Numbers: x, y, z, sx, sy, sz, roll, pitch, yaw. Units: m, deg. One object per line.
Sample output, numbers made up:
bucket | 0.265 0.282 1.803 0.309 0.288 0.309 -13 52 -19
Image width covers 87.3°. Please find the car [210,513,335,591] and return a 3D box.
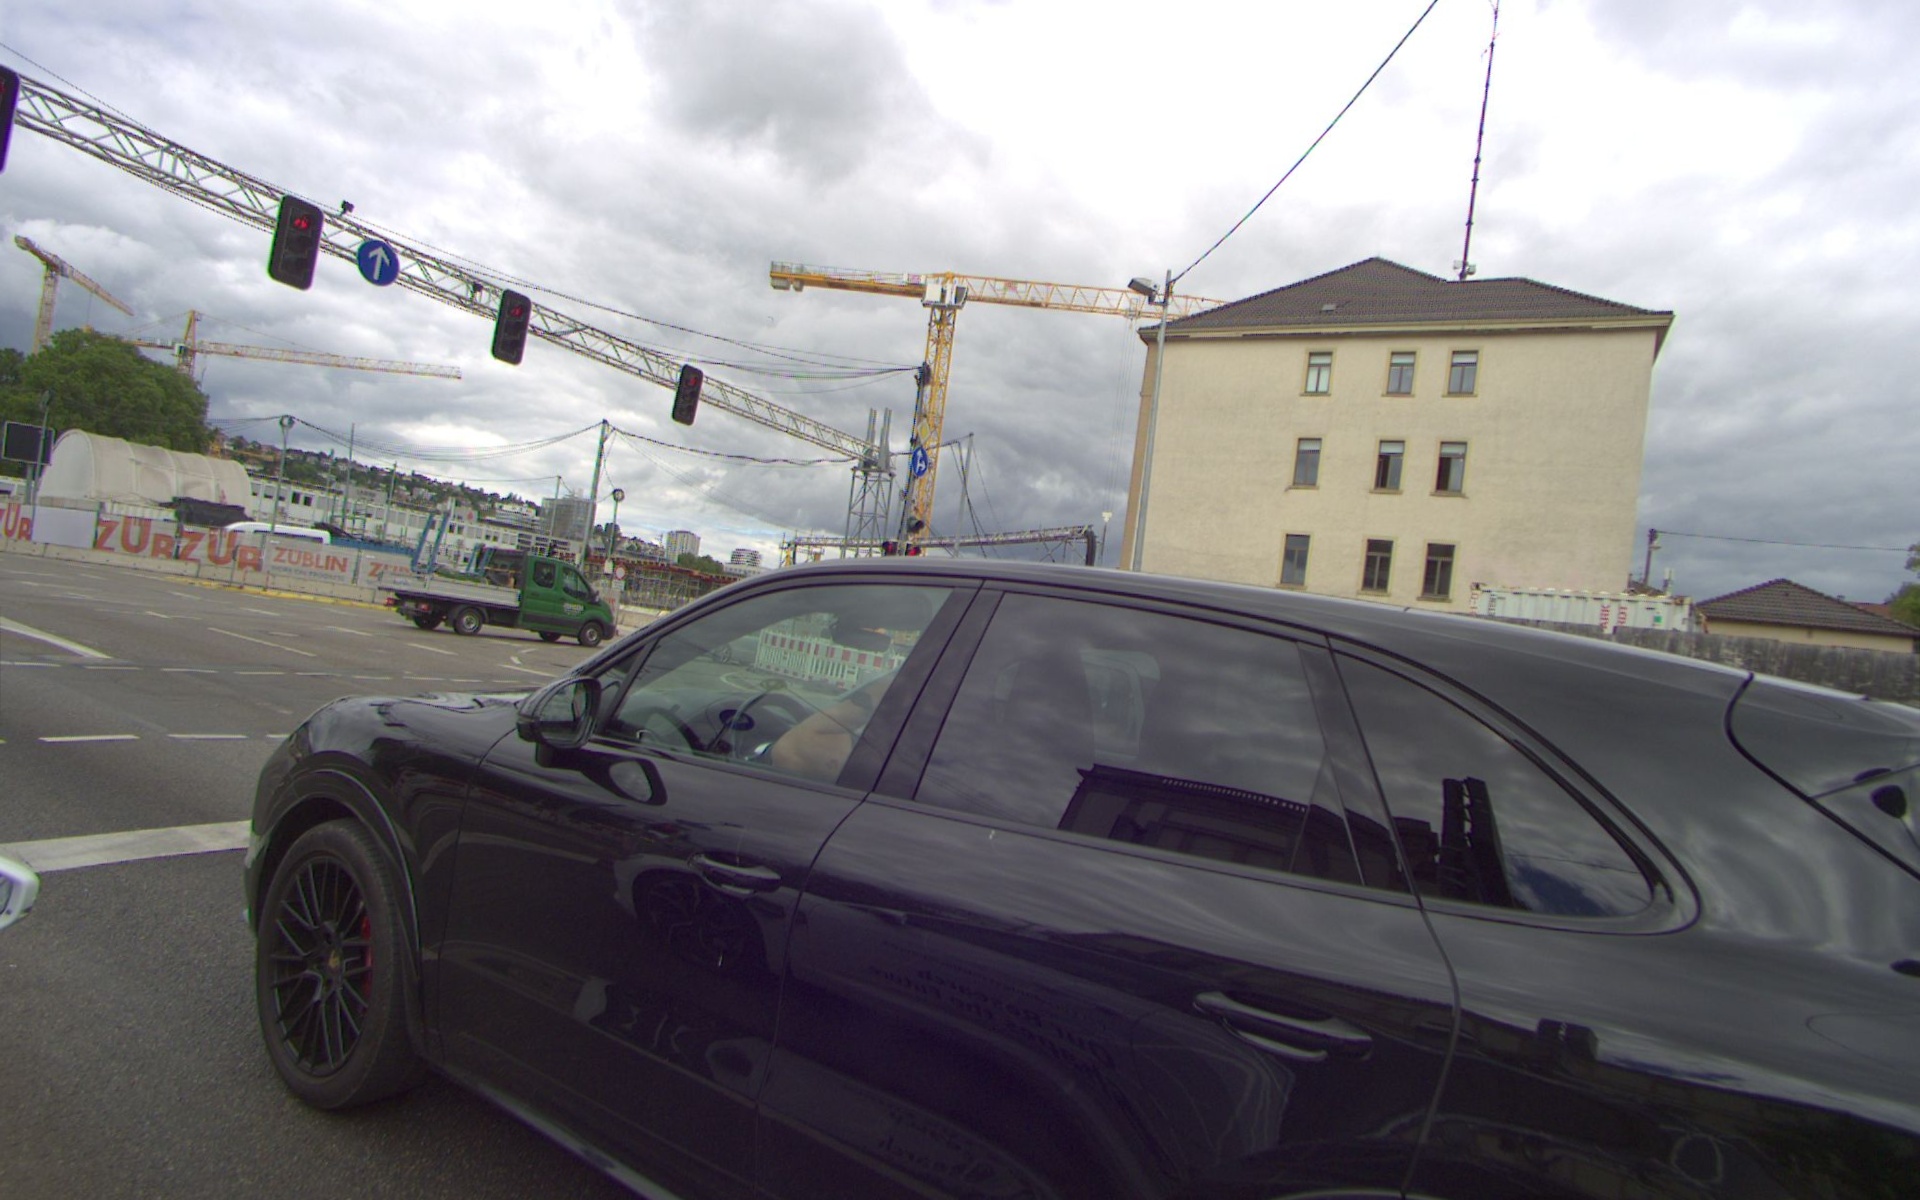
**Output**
car | -29.577 -2.036 43.369 1.660 2.692 3.979 6 -2 45

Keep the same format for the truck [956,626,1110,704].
truck | 3.735 3.234 48.357 2.587 2.835 8.986 7 -3 38

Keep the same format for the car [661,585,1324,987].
car | 0.114 0.976 6.663 3.934 1.644 1.679 6 -2 32

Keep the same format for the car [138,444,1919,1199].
car | -0.050 0.679 2.666 4.410 1.735 1.828 6 -2 32

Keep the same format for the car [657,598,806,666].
car | -7.200 1.073 32.211 1.654 1.643 4.719 6 -2 32

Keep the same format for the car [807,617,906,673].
car | -4.331 1.937 42.703 1.800 1.903 4.276 6 -2 31

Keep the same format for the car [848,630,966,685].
car | -1.974 2.264 39.180 1.988 1.643 4.816 6 -2 33

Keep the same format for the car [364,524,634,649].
car | -11.477 -0.232 25.601 2.266 2.331 5.769 6 -2 32

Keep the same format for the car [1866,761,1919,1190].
car | 5.765 1.676 2.570 4.729 1.644 1.828 6 -2 32
